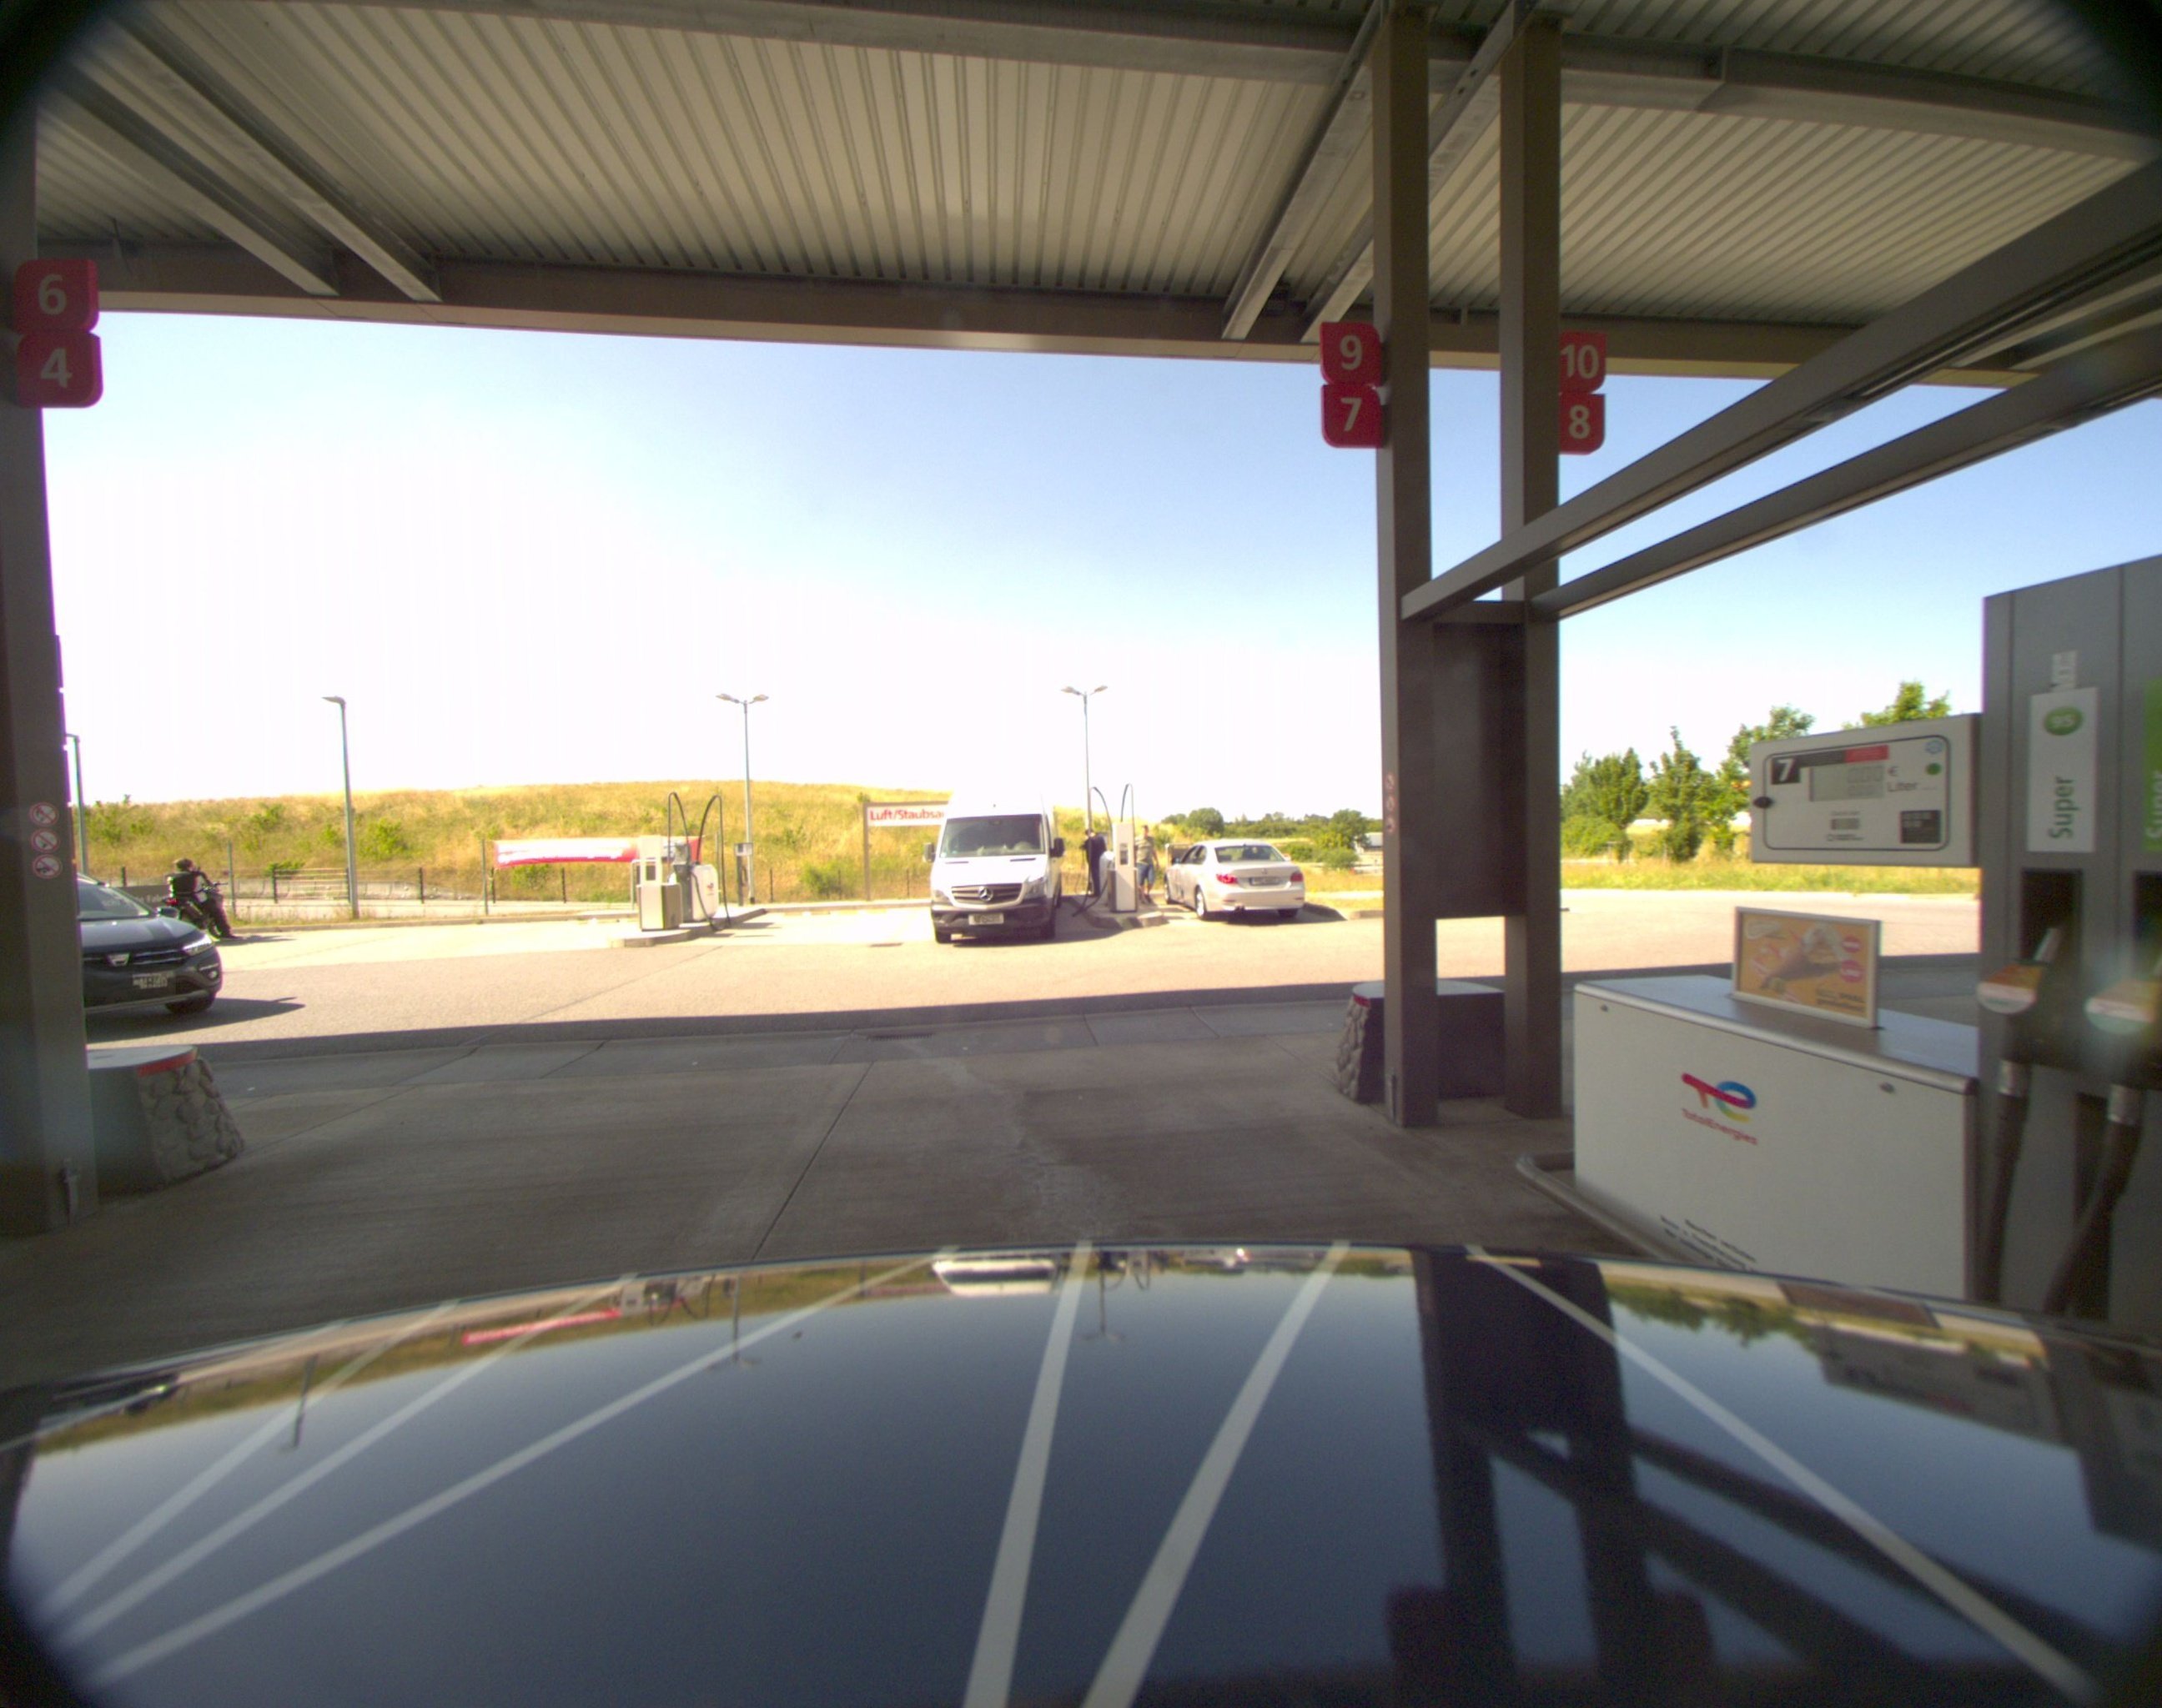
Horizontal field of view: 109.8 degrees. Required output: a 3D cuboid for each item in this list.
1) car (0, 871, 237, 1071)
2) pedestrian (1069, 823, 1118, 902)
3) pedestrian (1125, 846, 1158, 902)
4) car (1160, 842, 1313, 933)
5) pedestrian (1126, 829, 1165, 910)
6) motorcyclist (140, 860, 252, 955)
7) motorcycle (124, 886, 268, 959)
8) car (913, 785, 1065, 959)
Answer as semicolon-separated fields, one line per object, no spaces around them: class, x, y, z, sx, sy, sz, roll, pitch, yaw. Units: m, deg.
car;-11.238;1.063;7.751;4.622;1.635;1.746;-1;1;18
pedestrian;0.284;0.185;17.343;0.710;1.760;0.843;-3;2;-41
pedestrian;1.443;0.459;18.136;0.577;1.299;0.670;-1;2;21
car;2.886;0.535;15.096;1.793;1.420;4.318;-2;2;-5
pedestrian;1.407;0.327;16.767;0.709;1.739;0.844;-2;1;-4
motorcyclist;-16.911;0.977;14.570;1.036;1.678;1.096;-2;2;-31
motorcycle;-16.970;1.267;14.680;1.047;1.100;2.409;-2;2;-30
car;-1.439;0.089;14.843;1.998;2.557;7.027;-1;3;0
